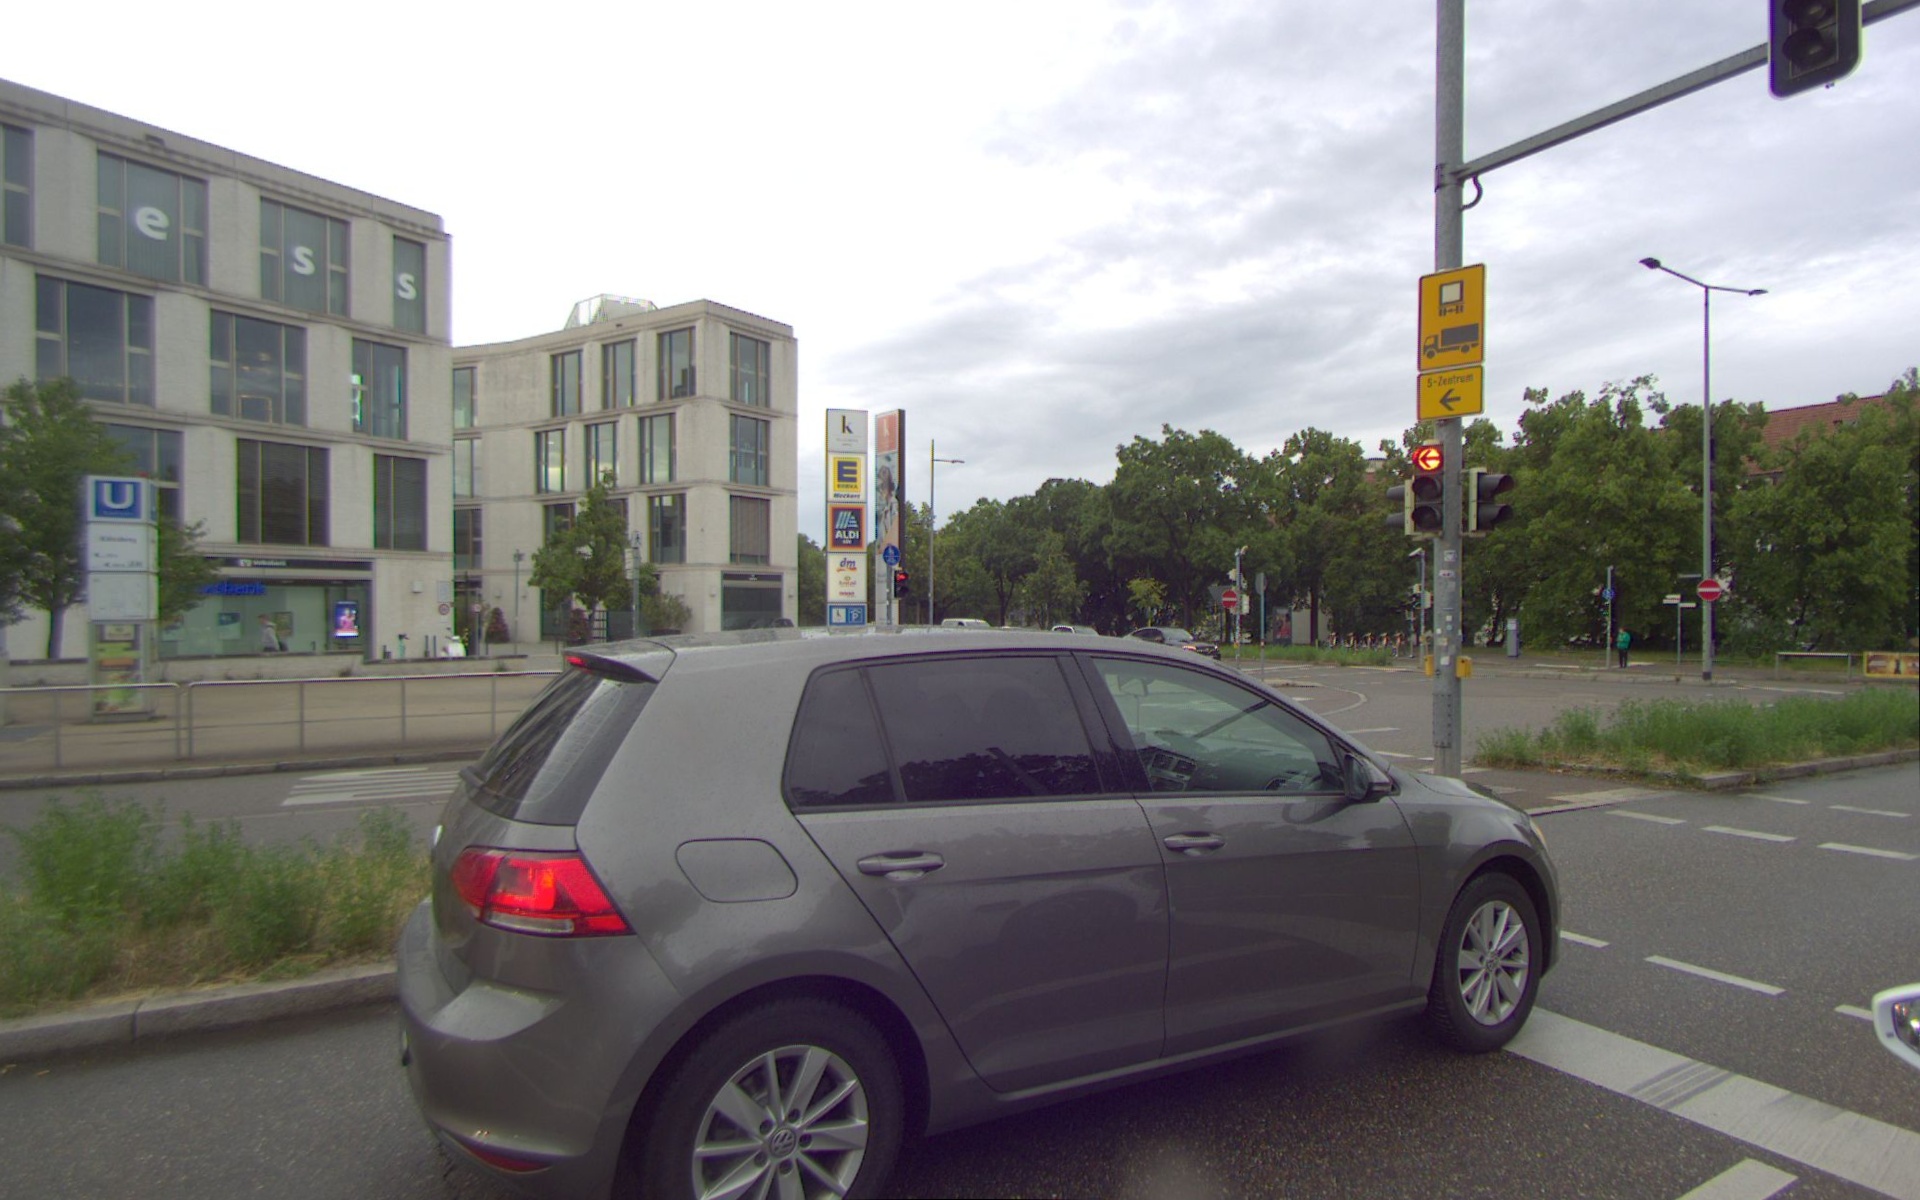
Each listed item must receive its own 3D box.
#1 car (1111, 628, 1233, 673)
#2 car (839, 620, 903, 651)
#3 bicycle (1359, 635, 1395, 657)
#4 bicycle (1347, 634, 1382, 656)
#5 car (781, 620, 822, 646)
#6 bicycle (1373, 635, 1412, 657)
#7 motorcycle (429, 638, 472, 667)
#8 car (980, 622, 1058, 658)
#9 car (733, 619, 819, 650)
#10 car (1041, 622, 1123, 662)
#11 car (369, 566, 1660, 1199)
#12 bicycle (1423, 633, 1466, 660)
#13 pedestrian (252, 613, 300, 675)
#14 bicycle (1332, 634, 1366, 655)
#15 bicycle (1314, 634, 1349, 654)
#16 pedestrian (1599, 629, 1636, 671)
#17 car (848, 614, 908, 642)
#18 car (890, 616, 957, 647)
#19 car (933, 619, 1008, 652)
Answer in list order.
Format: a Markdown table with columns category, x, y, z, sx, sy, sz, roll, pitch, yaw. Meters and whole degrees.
| category | x | y | z | sx | sy | sz | roll | pitch | yaw |
| --- | --- | --- | --- | --- | --- | --- | --- | --- | --- |
| car | 8.395 | 1.963 | 40.245 | 1.976 | 1.520 | 5.001 | 2 | 0 | -29 |
| car | -5.329 | 2.104 | 59.702 | 1.976 | 1.615 | 4.855 | 2 | 0 | -29 |
| bicycle | 21.672 | 2.394 | 52.179 | 1.959 | 1.085 | 0.649 | 2 | 0 | -30 |
| bicycle | 21.371 | 2.377 | 53.039 | 1.959 | 1.085 | 0.649 | 2 | 0 | -30 |
| car | -12.763 | 2.655 | 80.713 | 1.976 | 2.040 | 3.969 | 1 | -1 | -29 |
| bicycle | 22.243 | 2.360 | 51.655 | 1.959 | 1.085 | 0.798 | 2 | 0 | -30 |
| motorcycle | -14.179 | 1.460 | 27.942 | 1.081 | 0.750 | 0.522 | 2 | 0 | 29 |
| car | 2.943 | 1.990 | 50.913 | 1.976 | 1.615 | 4.185 | 2 | 0 | -29 |
| car | -9.187 | 1.709 | 50.322 | 1.968 | 1.483 | 3.985 | 0 | -2 | 37 |
| car | 5.557 | 1.905 | 46.031 | 1.976 | 1.615 | 3.536 | 2 | 0 | -30 |
| car | 0.418 | 0.754 | 3.598 | 4.325 | 1.501 | 1.807 | 2 | -1 | -30 |
| bicycle | 23.759 | 2.278 | 49.267 | 1.959 | 1.266 | 0.986 | 2 | 0 | -30 |
| pedestrian | -18.408 | 1.178 | 27.024 | 0.754 | 1.626 | 0.909 | 0 | -1 | 45 |
| bicycle | 20.938 | 2.387 | 54.040 | 1.959 | 1.085 | 0.649 | 2 | 0 | -30 |
| bicycle | 20.267 | 2.401 | 54.769 | 1.959 | 1.085 | 0.649 | 2 | 0 | -30 |
| pedestrian | 27.928 | 2.124 | 42.665 | 0.933 | 1.750 | 0.919 | 2 | 0 | -26 |
| car | -5.459 | 1.808 | 66.117 | 1.977 | 1.615 | 4.852 | 2 | 0 | -31 |
| car | -2.257 | 1.879 | 60.397 | 1.976 | 1.615 | 4.855 | 2 | 0 | -29 |
| car | 0.532 | 1.939 | 55.410 | 1.976 | 1.615 | 4.855 | 2 | 0 | -29 |
